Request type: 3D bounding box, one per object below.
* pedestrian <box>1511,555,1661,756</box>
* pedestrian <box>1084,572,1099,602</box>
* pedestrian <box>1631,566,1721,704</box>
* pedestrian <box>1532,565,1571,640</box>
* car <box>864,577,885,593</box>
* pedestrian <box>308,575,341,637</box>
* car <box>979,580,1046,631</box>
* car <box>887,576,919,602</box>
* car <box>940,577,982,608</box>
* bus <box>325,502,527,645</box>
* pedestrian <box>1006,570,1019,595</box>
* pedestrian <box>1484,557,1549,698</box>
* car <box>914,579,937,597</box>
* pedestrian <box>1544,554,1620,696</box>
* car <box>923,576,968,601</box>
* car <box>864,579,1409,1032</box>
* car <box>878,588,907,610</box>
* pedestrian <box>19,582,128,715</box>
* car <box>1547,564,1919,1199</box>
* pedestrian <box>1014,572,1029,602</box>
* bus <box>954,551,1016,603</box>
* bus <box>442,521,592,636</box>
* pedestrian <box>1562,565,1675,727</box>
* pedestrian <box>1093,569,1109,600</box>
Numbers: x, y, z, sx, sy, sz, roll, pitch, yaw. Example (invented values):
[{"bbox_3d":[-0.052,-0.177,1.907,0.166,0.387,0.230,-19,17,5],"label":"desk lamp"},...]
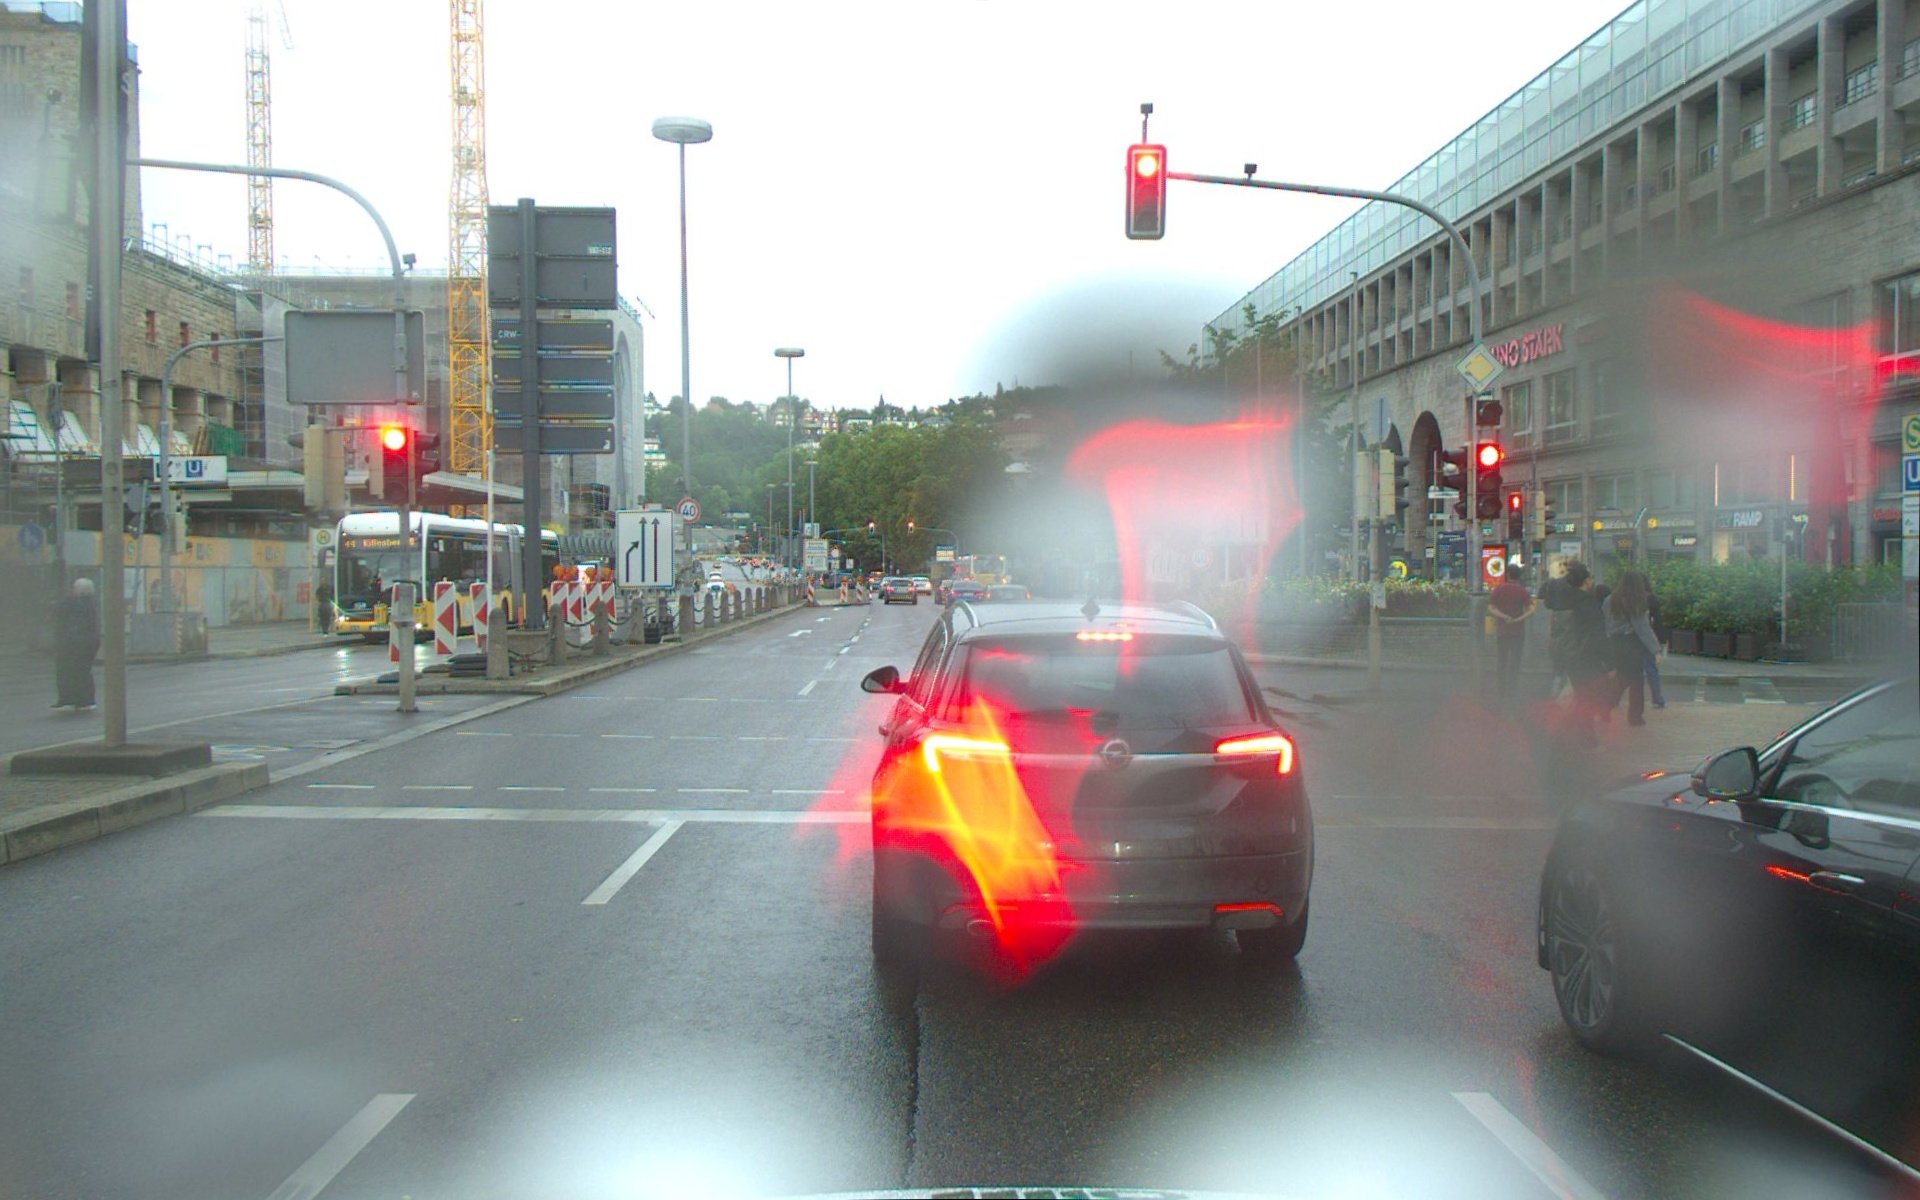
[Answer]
[{"bbox_3d":[5.771,0.499,15.280,1.074,1.782,0.653,-2,0,-4],"label":"pedestrian"},{"bbox_3d":[7.588,-0.736,95.473,0.748,1.720,0.824,1,0,-5],"label":"pedestrian"},{"bbox_3d":[8.673,0.417,20.056,0.783,1.636,0.619,1,0,-5],"label":"pedestrian"},{"bbox_3d":[16.339,0.056,45.714,0.751,2.049,0.820,1,0,41],"label":"pedestrian"},{"bbox_3d":[-7.719,-1.373,149.811,1.723,1.422,3.563,1,0,-1],"label":"car"},{"bbox_3d":[-17.763,0.176,46.249,0.646,1.710,0.644,1,0,-1],"label":"pedestrian"},{"bbox_3d":[1.521,0.160,49.069,1.808,1.422,3.666,1,0,-1],"label":"car"},{"bbox_3d":[-3.208,-0.606,93.184,1.718,1.422,4.536,1,0,-2],"label":"car"},{"bbox_3d":[0.027,-0.343,78.658,1.718,1.422,4.645,1,0,-3],"label":"car"},{"bbox_3d":[-15.214,-0.692,48.112,2.614,3.665,10.237,1,0,-1],"label":"bus"},{"bbox_3d":[4.791,-1.588,151.219,1.174,2.186,1.228,1,0,0],"label":"pedestrian"},{"bbox_3d":[7.172,0.352,21.320,0.560,1.783,0.676,1,0,42],"label":"pedestrian"},{"bbox_3d":[-2.804,-0.967,136.001,1.808,1.422,3.563,1,0,-1],"label":"car"},{"bbox_3d":[7.770,0.309,20.675,0.740,1.747,0.466,1,0,-5],"label":"pedestrian"},{"bbox_3d":[-0.878,-0.652,96.037,1.722,1.422,4.388,1,0,-12],"label":"car"},{"bbox_3d":[0.561,0.704,7.626,1.837,1.512,3.999,1,0,-1],"label":"car"},{"bbox_3d":[-4.555,-0.078,112.287,1.808,1.422,3.563,1,0,-1],"label":"car"},{"bbox_3d":[-10.867,0.587,20.298,0.854,1.588,0.787,1,0,3],"label":"pedestrian"},{"bbox_3d":[3.041,0.699,3.713,1.757,1.528,4.628,1,0,-1],"label":"car"},{"bbox_3d":[5.113,-1.062,137.532,1.174,2.478,1.228,1,0,0],"label":"pedestrian"},{"bbox_3d":[1.702,-1.582,120.909,4.089,3.529,14.651,1,0,-1],"label":"bus"},{"bbox_3d":[-15.372,-0.684,58.295,2.614,3.665,10.209,1,0,-1],"label":"bus"},{"bbox_3d":[6.954,0.473,17.497,0.778,1.654,0.899,1,0,-4],"label":"pedestrian"},{"bbox_3d":[8.019,-0.884,94.214,0.748,1.720,0.824,1,0,-5],"label":"pedestrian"}]
